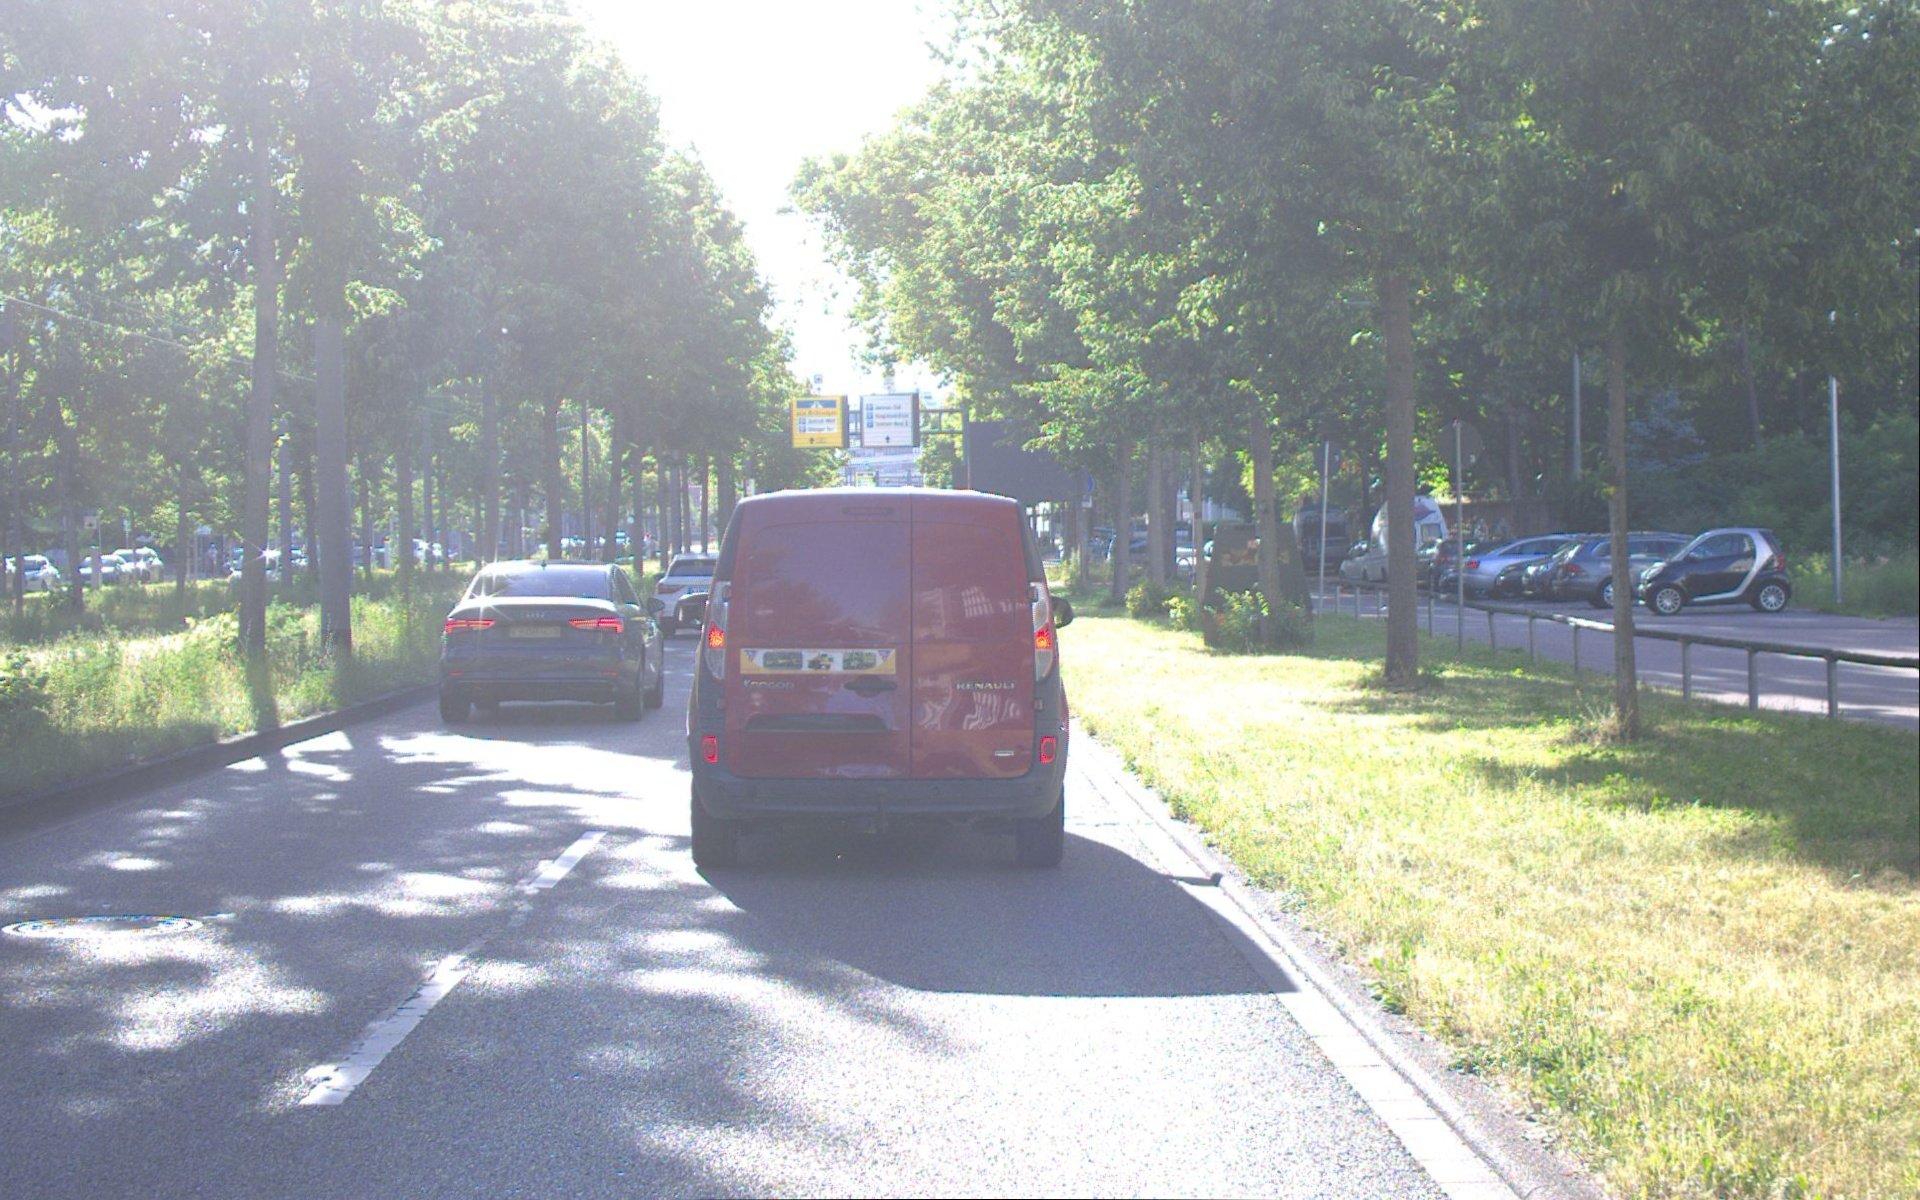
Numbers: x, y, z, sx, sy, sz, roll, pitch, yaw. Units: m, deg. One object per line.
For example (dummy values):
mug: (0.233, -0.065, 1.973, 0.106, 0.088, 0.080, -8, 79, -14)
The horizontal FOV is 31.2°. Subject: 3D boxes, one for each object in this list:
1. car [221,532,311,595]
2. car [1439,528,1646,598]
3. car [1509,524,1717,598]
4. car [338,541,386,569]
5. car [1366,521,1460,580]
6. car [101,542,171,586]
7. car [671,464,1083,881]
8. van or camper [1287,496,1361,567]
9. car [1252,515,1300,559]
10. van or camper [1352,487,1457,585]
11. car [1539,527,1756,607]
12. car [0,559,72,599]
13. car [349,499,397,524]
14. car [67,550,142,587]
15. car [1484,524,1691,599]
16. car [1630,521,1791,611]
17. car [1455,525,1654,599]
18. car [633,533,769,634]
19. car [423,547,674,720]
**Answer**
car: (-22.710, -1.196, 112.584, 1.993, 2.007, 4.000, 1, 1, 2)
car: (14.426, -0.926, 85.352, 4.719, 1.401, 2.000, -4, 1, 0)
car: (14.477, -0.871, 76.352, 4.190, 1.493, 1.782, -2, 1, -3)
car: (-35.563, -2.686, 204.486, 1.993, 1.603, 4.611, 1, 1, 0)
car: (12.652, -1.385, 96.246, 1.993, 1.568, 4.000, 1, 1, -1)
car: (-34.378, -1.518, 143.586, 1.993, 1.766, 4.777, 1, 1, -3)
car: (-0.497, 0.303, 17.284, 1.808, 1.831, 4.001, 1, 1, -4)
van or camper: (14.443, -2.747, 136.925, 2.557, 2.675, 6.564, -3, 1, 4)
car: (14.612, -2.922, 159.039, 2.087, 2.007, 4.942, 0, 1, 4)
van or camper: (13.146, -1.897, 101.945, 1.993, 2.722, 4.965, -3, 1, -4)
car: (14.160, -0.678, 70.945, 4.080, 1.463, 1.715, -2, 1, 0)
car: (-34.104, -0.779, 126.329, 1.993, 1.436, 4.457, 1, 1, -3)
car: (-32.815, -4.949, 192.295, 1.912, 1.321, 4.611, 1, 1, 0)
car: (-34.115, -1.263, 137.182, 1.958, 1.436, 4.266, 1, 1, -1)
car: (14.528, -0.899, 79.737, 4.327, 1.473, 1.907, -3, 2, -4)
car: (13.803, -0.621, 63.311, 2.767, 1.544, 1.461, -2, 0, 9)
car: (14.231, -0.920, 82.468, 4.381, 1.406, 2.000, -5, 1, 2)
car: (-4.280, -0.289, 57.423, 1.993, 1.612, 4.000, 1, 1, -1)
car: (-3.613, 0.255, 30.810, 1.792, 1.423, 4.000, 1, 1, -1)
